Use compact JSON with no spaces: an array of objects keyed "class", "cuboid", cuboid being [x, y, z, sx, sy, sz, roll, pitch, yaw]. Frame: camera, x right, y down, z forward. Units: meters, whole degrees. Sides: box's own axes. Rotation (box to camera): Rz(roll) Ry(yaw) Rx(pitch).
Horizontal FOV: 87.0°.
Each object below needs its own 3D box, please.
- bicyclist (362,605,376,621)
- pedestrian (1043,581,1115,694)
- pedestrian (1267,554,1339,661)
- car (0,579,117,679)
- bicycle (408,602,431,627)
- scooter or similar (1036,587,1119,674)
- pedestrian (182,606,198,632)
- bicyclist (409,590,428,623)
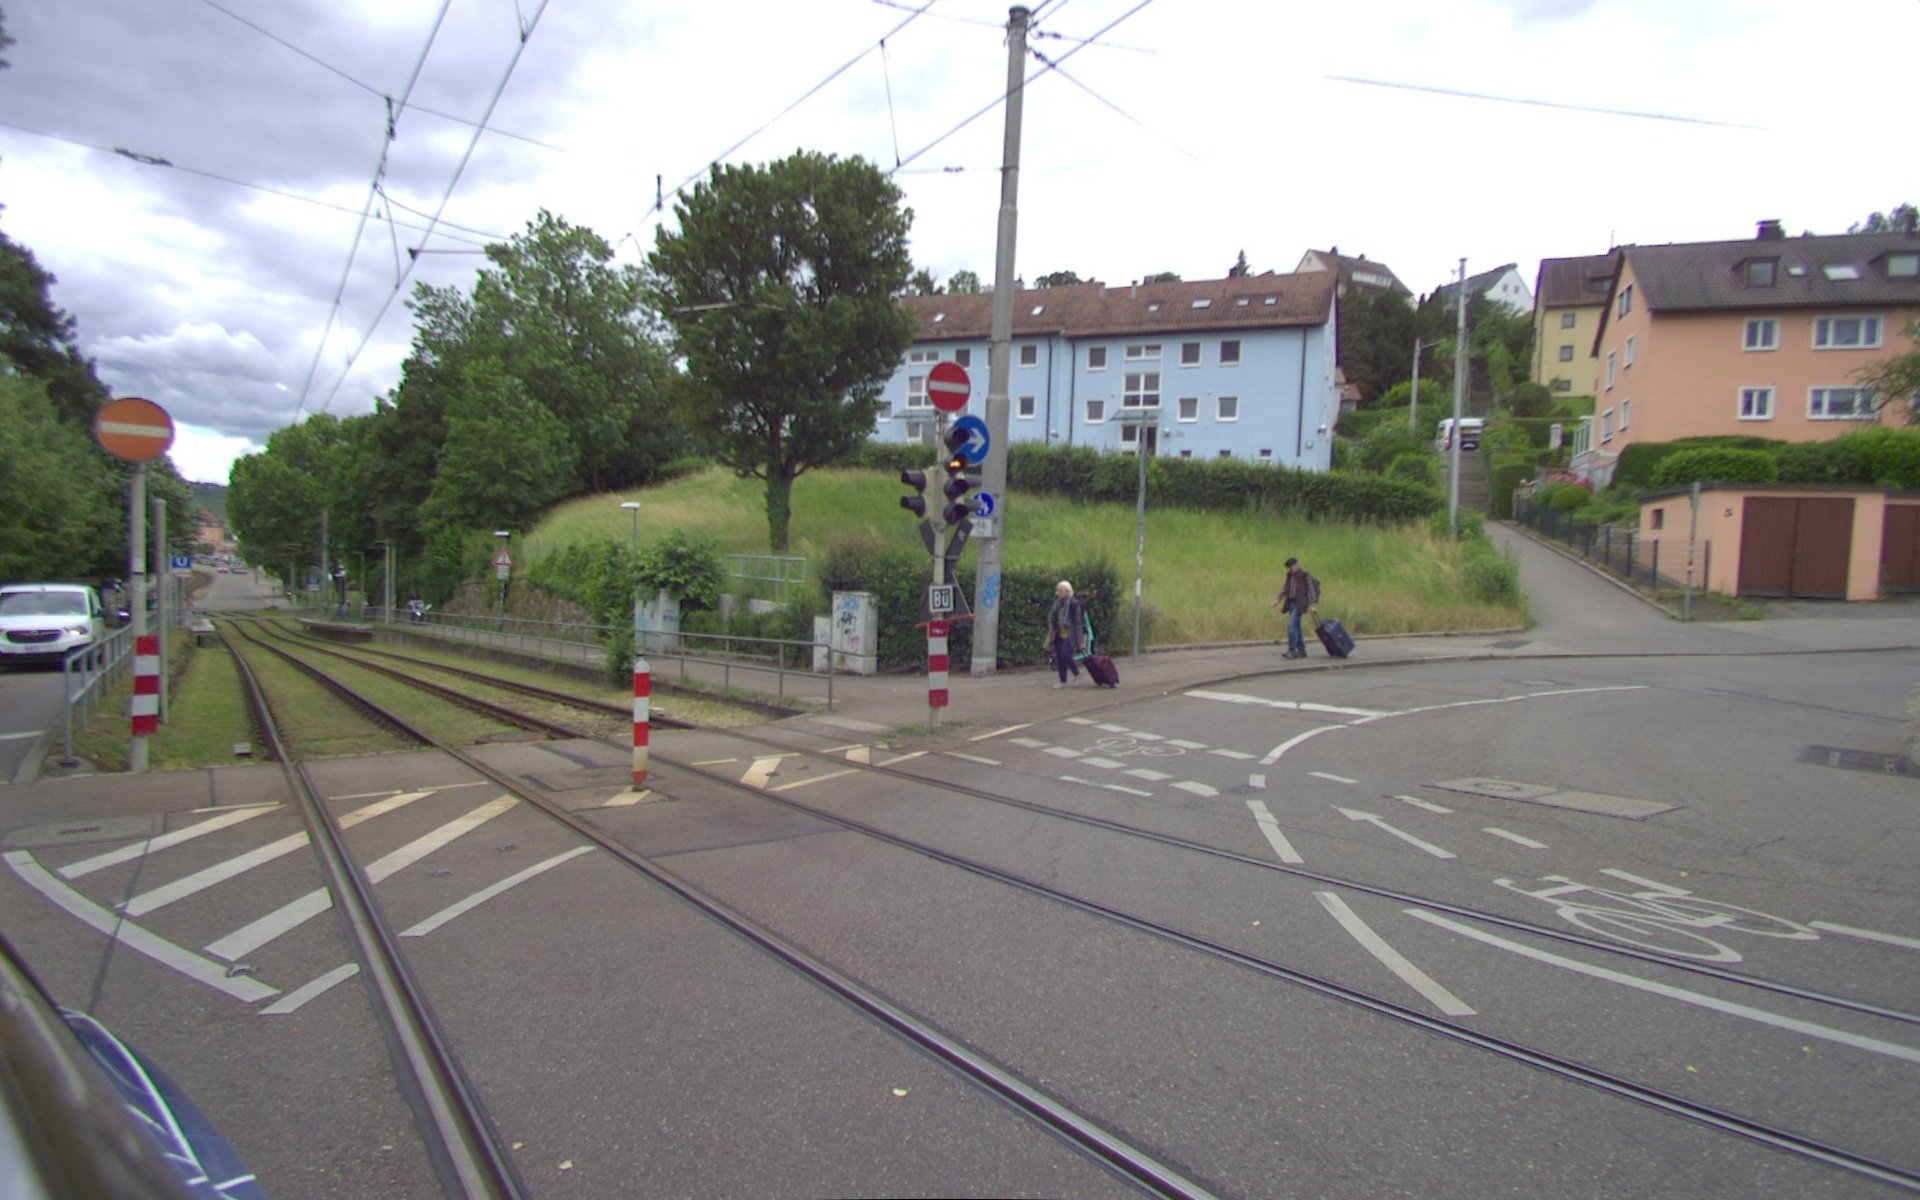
[{"class":"bicyclist","cuboid":[-38.999,0.874,66.778,0.680,1.061,0.746,0,-1,-37]},{"class":"pedestrian","cuboid":[1.735,0.522,14.789,0.740,1.586,0.759,0,1,-30]},{"class":"pedestrian","cuboid":[5.859,0.118,17.302,0.886,1.763,0.745,0,1,-23]},{"class":"car","cuboid":[-19.493,0.534,21.775,1.781,1.936,4.489,-1,1,-36]},{"class":"bicycle","cuboid":[-27.155,0.736,50.808,0.740,1.249,2.874,-1,0,-33]},{"class":"scooter or similar","cuboid":[1.960,0.478,16.782,1.390,1.298,0.419,-5,3,-36]},{"class":"pedestrian","cuboid":[-45.363,1.136,59.631,0.727,1.514,0.628,-1,-1,-36]},{"class":"bicyclist","cuboid":[-27.532,0.353,51.433,0.695,1.641,1.035,-1,0,-34]}]
